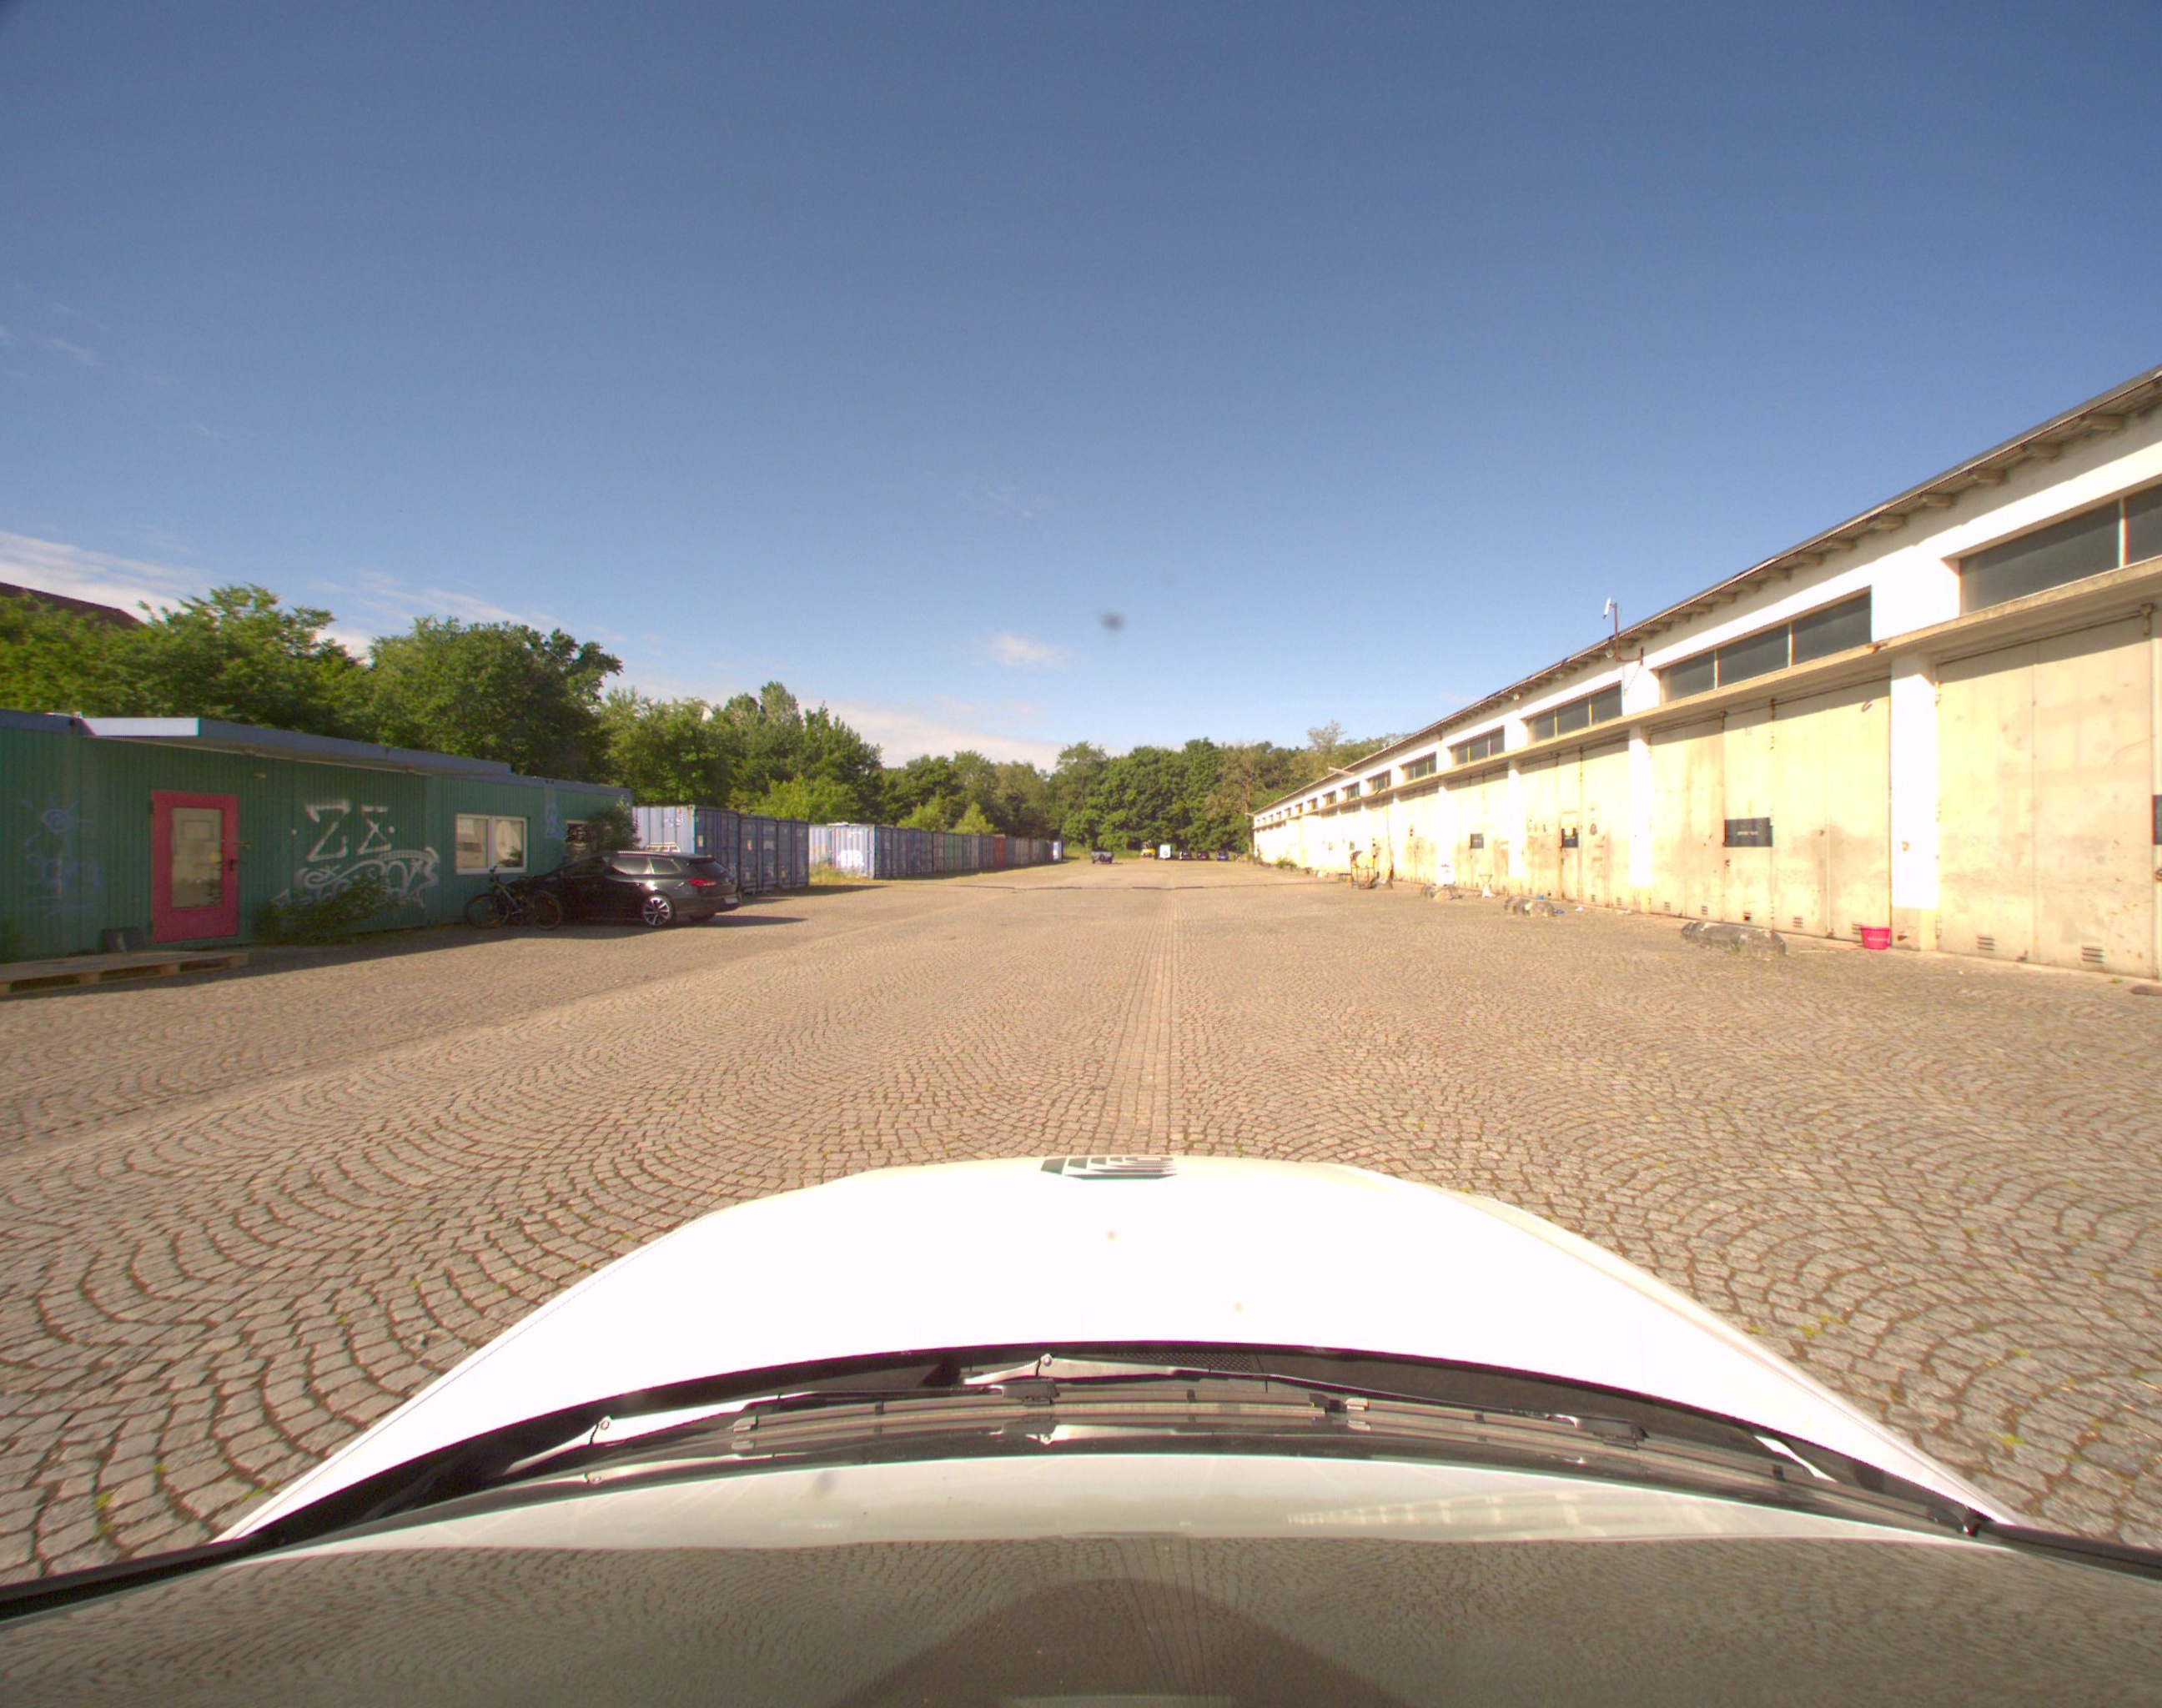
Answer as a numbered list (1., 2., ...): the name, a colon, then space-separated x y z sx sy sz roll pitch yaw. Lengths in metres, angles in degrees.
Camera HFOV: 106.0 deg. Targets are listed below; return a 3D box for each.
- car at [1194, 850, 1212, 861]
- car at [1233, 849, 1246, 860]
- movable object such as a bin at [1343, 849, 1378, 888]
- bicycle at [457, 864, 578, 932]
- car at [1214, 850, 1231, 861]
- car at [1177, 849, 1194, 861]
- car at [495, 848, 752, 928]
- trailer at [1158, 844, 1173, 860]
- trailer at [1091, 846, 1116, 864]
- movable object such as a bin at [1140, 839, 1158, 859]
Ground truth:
1. car: 16.800 0.173 112.027 1.979 1.462 4.015 0 0 13
2. car: 22.002 0.089 112.856 1.673 1.563 4.015 0 0 13
3. movable object such as a bin: 9.789 0.511 28.553 0.820 1.331 1.281 0 0 1
4. bicycle: -9.963 0.758 14.418 1.699 1.101 0.675 2 0 6
5. car: 19.406 0.206 111.758 1.979 1.420 4.015 0 0 13
6. car: 14.394 0.094 112.080 1.848 1.585 4.015 0 0 13
7. car: -8.847 0.634 15.994 4.036 1.413 1.732 1 0 0
8. trailer: 11.889 -0.292 114.048 1.782 2.090 3.983 0 0 11
9. trailer: 2.632 0.131 95.730 2.393 2.013 4.183 2 0 8
10. movable object such as a bin: 9.547 -0.690 114.568 1.981 2.618 4.012 2 0 10
